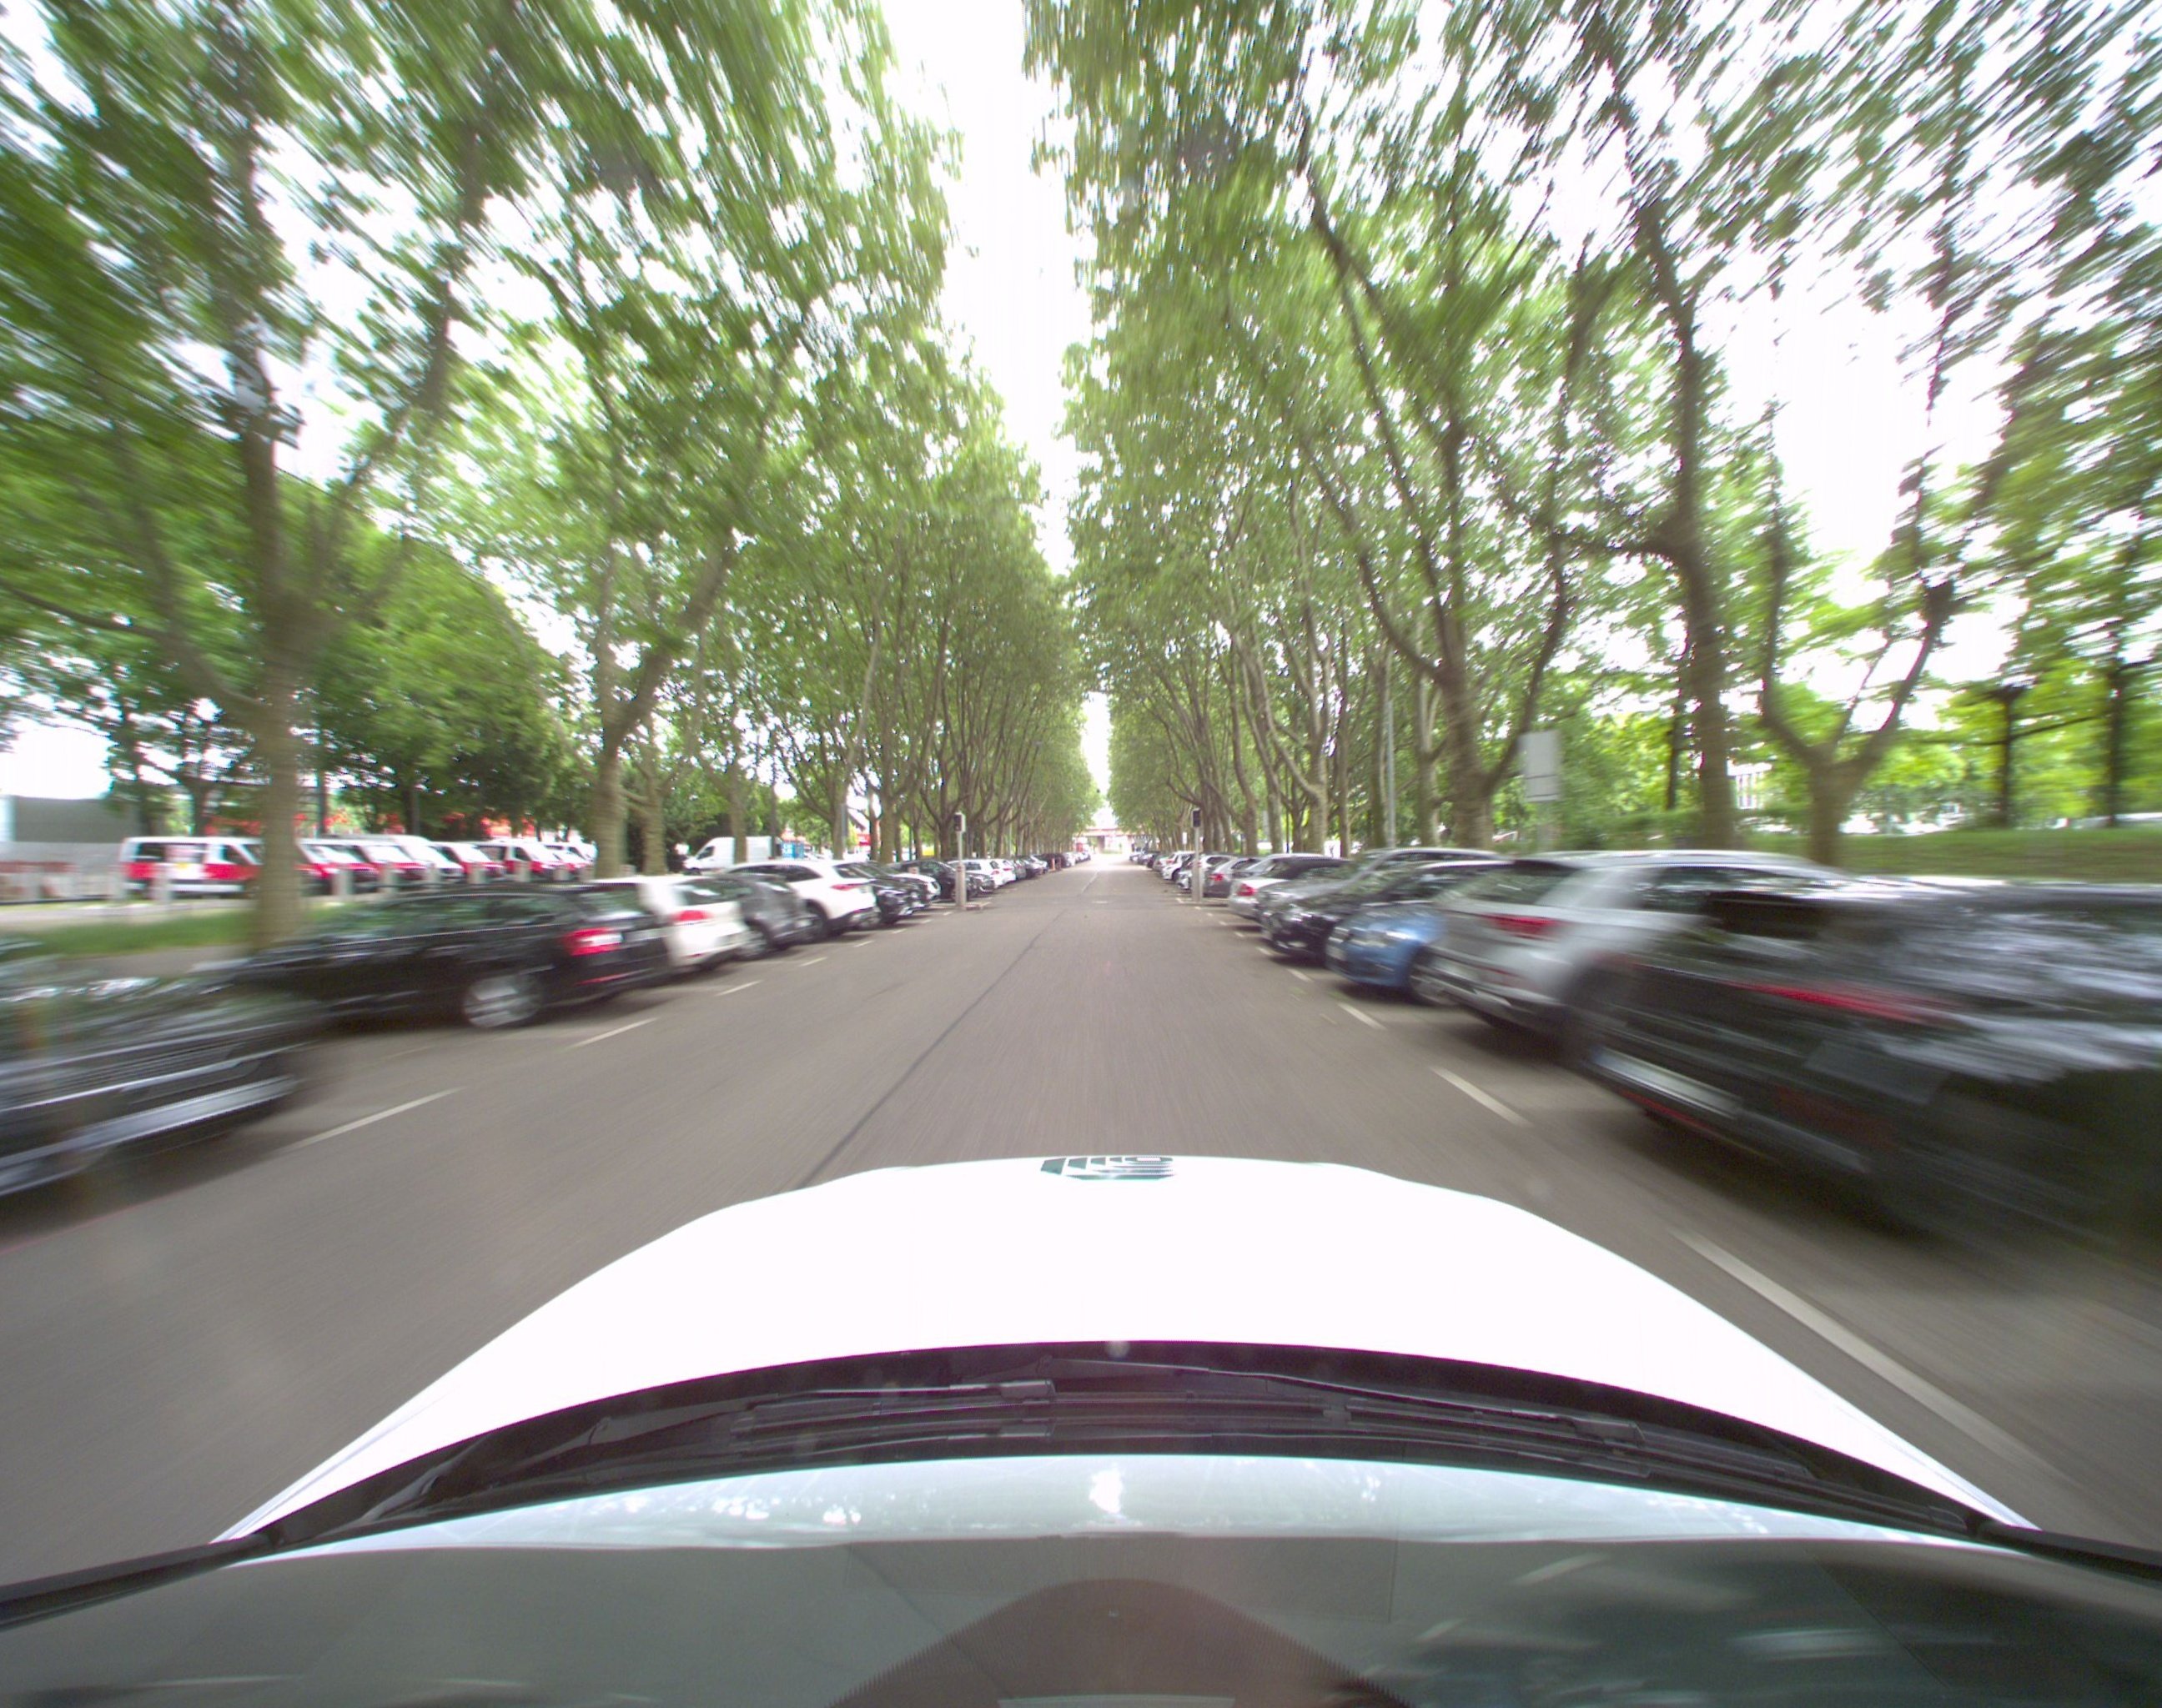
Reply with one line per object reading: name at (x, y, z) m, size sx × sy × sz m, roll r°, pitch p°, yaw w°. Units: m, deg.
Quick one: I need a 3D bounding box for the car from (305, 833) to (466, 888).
car at (-33.009, 0.307, 38.761) m, size 5.979 × 2.527 × 2.001 m, roll 0°, pitch 0°, yaw 1°

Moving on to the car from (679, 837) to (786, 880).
car at (-21.570, 0.268, 50.554) m, size 5.762 × 2.597 × 2.001 m, roll 0°, pitch 0°, yaw 2°

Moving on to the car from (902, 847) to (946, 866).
car at (-19.172, 0.280, 99.750) m, size 5.060 × 2.232 × 1.536 m, roll 0°, pitch 0°, yaw 0°

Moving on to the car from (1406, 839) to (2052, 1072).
car at (4.810, 0.700, 6.472) m, size 3.814 × 1.607 × 1.694 m, roll 0°, pitch 0°, yaw 0°

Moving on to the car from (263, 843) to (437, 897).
car at (-32.331, 0.688, 36.118) m, size 5.979 × 2.318 × 2.001 m, roll 0°, pitch 0°, yaw 1°

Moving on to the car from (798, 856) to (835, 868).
car at (-30.277, 0.856, 93.166) m, size 3.743 × 1.349 × 1.535 m, roll 0°, pitch 0°, yaw -1°

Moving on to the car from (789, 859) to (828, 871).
car at (-29.751, 1.199, 88.907) m, size 3.742 × 1.349 × 1.536 m, roll 0°, pitch 0°, yaw 0°

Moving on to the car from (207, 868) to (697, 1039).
car at (-6.547, 0.988, 8.789) m, size 3.983 × 1.471 × 1.536 m, roll -3°, pitch 0°, yaw -1°

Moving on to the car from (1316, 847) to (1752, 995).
car at (4.688, 0.655, 8.833) m, size 3.814 × 1.455 × 1.694 m, roll 0°, pitch 0°, yaw 0°

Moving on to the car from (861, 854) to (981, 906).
car at (-5.577, 0.903, 28.755) m, size 3.815 × 1.608 × 1.694 m, roll -3°, pitch 0°, yaw -1°

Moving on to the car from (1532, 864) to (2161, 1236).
car at (4.546, 0.757, 3.947) m, size 3.814 × 1.389 × 1.694 m, roll 0°, pitch 0°, yaw 0°

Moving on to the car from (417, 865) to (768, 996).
car at (-6.701, 1.003, 11.498) m, size 3.743 × 1.474 × 1.865 m, roll -3°, pitch 0°, yaw 1°

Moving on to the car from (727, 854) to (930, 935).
car at (-5.758, 0.897, 18.880) m, size 4.049 × 1.608 × 1.801 m, roll -3°, pitch 0°, yaw 4°

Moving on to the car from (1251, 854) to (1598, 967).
car at (4.626, 0.733, 11.374) m, size 4.197 × 1.451 × 1.611 m, roll 0°, pitch 0°, yaw 0°

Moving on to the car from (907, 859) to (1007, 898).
car at (-5.099, 0.993, 33.821) m, size 3.815 × 1.430 × 1.694 m, roll -3°, pitch 0°, yaw -1°

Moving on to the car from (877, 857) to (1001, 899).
car at (-5.393, 0.889, 31.302) m, size 4.387 × 1.365 × 1.694 m, roll -3°, pitch 0°, yaw -1°

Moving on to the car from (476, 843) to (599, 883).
car at (-32.198, 0.541, 48.319) m, size 5.979 × 2.305 × 2.001 m, roll 0°, pitch 0°, yaw 1°

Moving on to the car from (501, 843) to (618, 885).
car at (-32.400, 0.593, 50.691) m, size 5.979 × 2.527 × 2.001 m, roll 0°, pitch 0°, yaw 1°

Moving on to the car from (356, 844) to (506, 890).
car at (-32.636, 0.623, 41.010) m, size 5.979 × 2.240 × 2.001 m, roll 0°, pitch 0°, yaw 1°

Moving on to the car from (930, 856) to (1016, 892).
car at (-5.136, 0.942, 39.089) m, size 3.815 × 1.497 × 1.694 m, roll -3°, pitch 0°, yaw -1°

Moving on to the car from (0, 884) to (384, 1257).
car at (-6.540, 1.014, 4.266) m, size 4.425 × 1.452 × 1.778 m, roll -3°, pitch 0°, yaw 6°

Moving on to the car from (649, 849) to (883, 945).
car at (-6.151, 0.807, 16.271) m, size 3.815 × 1.627 × 1.952 m, roll -3°, pitch 0°, yaw -1°

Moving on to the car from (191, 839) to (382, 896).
car at (-32.549, 0.540, 33.471) m, size 5.979 × 2.252 × 2.001 m, roll 0°, pitch 0°, yaw 1°

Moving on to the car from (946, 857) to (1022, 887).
car at (-5.190, 0.967, 44.086) m, size 3.814 × 1.430 × 1.802 m, roll -3°, pitch 0°, yaw 0°

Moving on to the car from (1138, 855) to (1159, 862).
car at (14.453, 0.896, 174.888) m, size 4.358 × 1.523 × 1.732 m, roll 0°, pitch 0°, yaw 3°

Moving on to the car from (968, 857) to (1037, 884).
car at (-4.685, 0.985, 49.115) m, size 3.807 × 1.430 × 1.697 m, roll -3°, pitch 0°, yaw 6°

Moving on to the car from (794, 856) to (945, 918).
car at (-6.260, 0.956, 24.417) m, size 4.031 × 1.608 × 1.694 m, roll -3°, pitch -1°, yaw -1°

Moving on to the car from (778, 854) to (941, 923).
car at (-5.858, 0.897, 21.899) m, size 3.815 × 1.608 × 1.833 m, roll -3°, pitch 0°, yaw -1°

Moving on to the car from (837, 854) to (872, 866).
car at (-29.019, 0.774, 104.599) m, size 3.962 × 1.590 × 1.699 m, roll 0°, pitch 0°, yaw 10°

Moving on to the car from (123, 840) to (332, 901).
car at (-32.469, 0.612, 31.094) m, size 5.979 × 2.252 × 2.001 m, roll 0°, pitch 0°, yaw 1°

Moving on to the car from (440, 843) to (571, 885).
car at (-32.370, 0.549, 45.906) m, size 5.979 × 2.330 × 2.001 m, roll 0°, pitch 0°, yaw 1°

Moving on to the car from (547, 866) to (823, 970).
car at (-6.652, 1.044, 13.983) m, size 3.815 × 1.471 × 1.694 m, roll -3°, pitch 0°, yaw -1°
